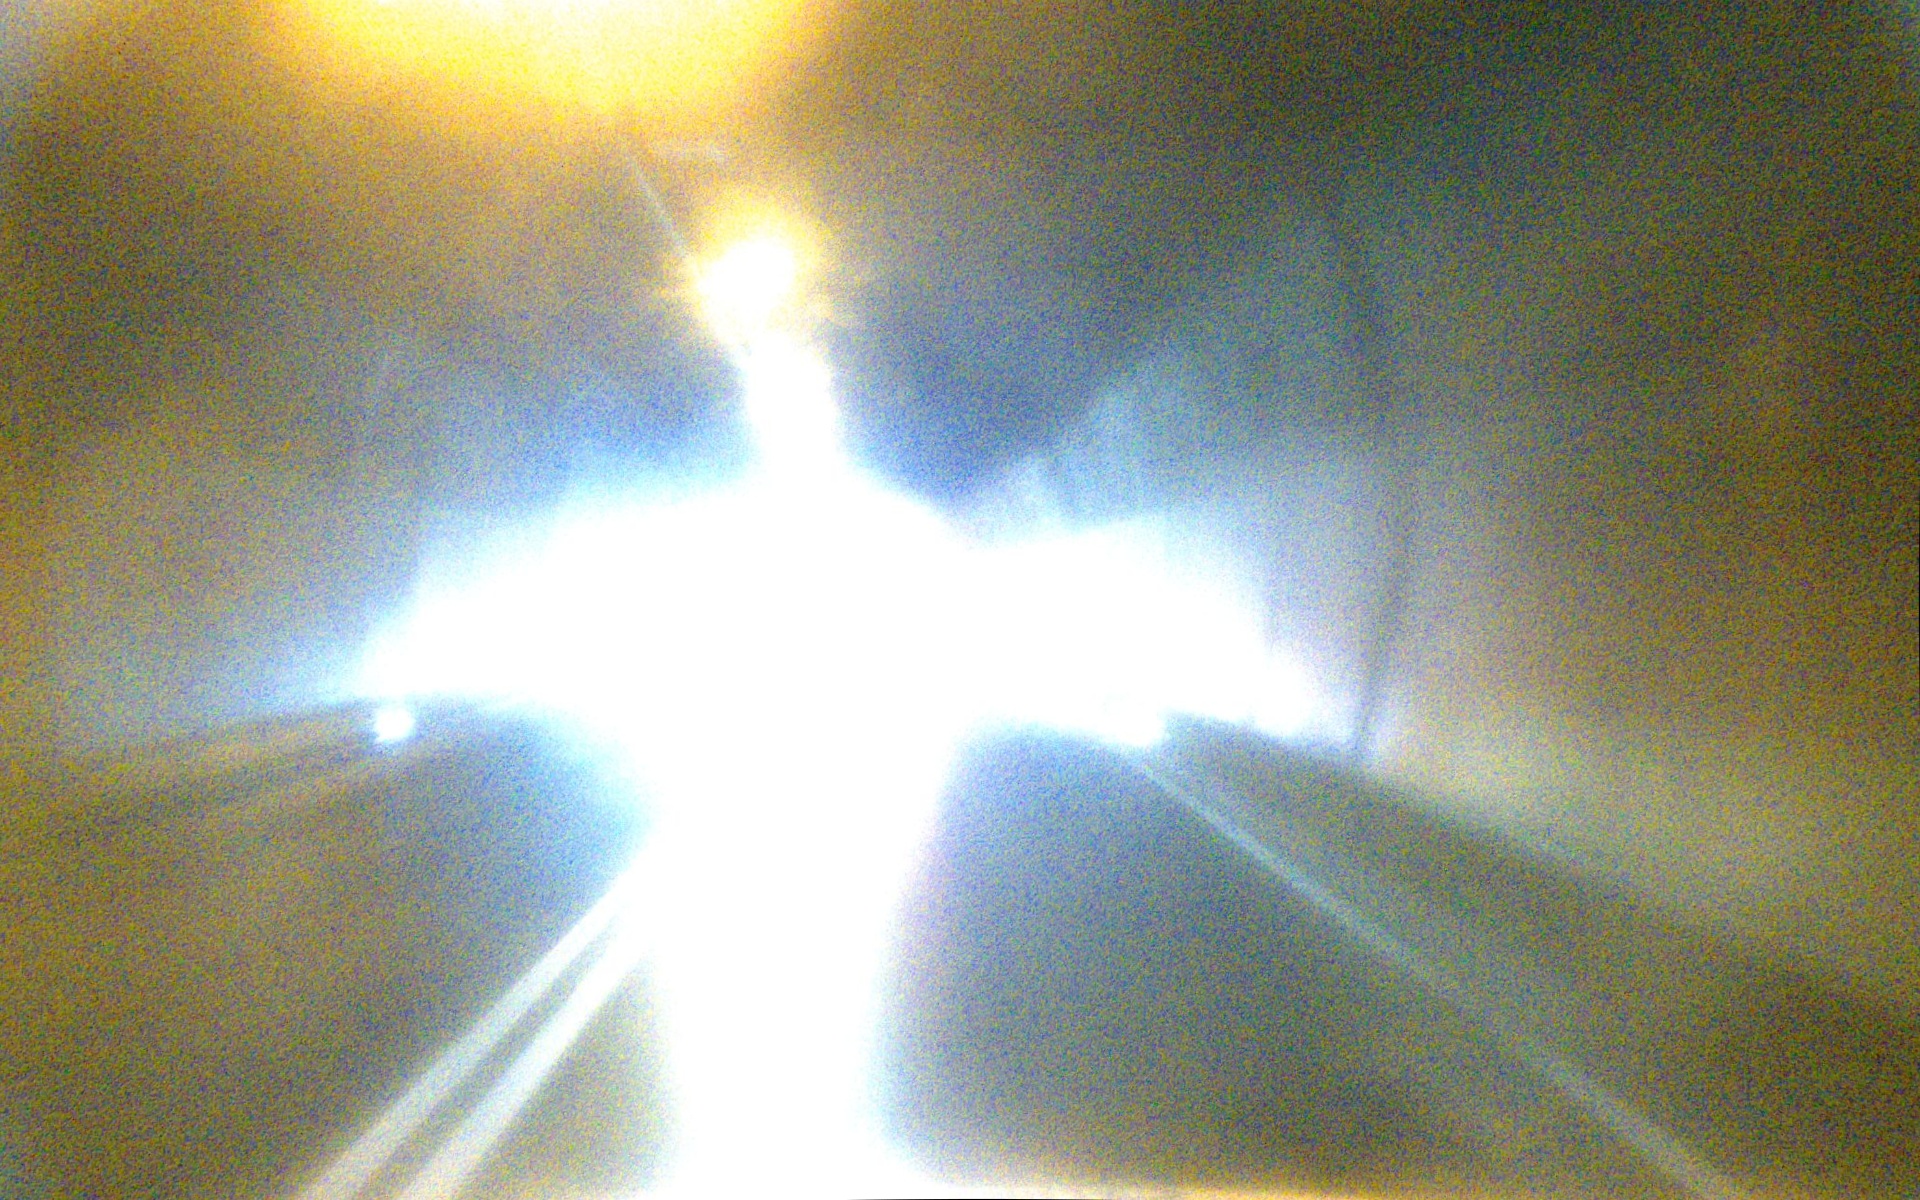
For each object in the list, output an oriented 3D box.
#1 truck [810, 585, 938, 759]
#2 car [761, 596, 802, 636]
[{"bbox_3d":[-1.756,1.291,33.505,2.217,3.063,7.410,2,0,-3],"label":"truck"},{"bbox_3d":[-7.279,0.627,67.113,1.590,1.544,4.131,0,0,-7],"label":"car"}]
